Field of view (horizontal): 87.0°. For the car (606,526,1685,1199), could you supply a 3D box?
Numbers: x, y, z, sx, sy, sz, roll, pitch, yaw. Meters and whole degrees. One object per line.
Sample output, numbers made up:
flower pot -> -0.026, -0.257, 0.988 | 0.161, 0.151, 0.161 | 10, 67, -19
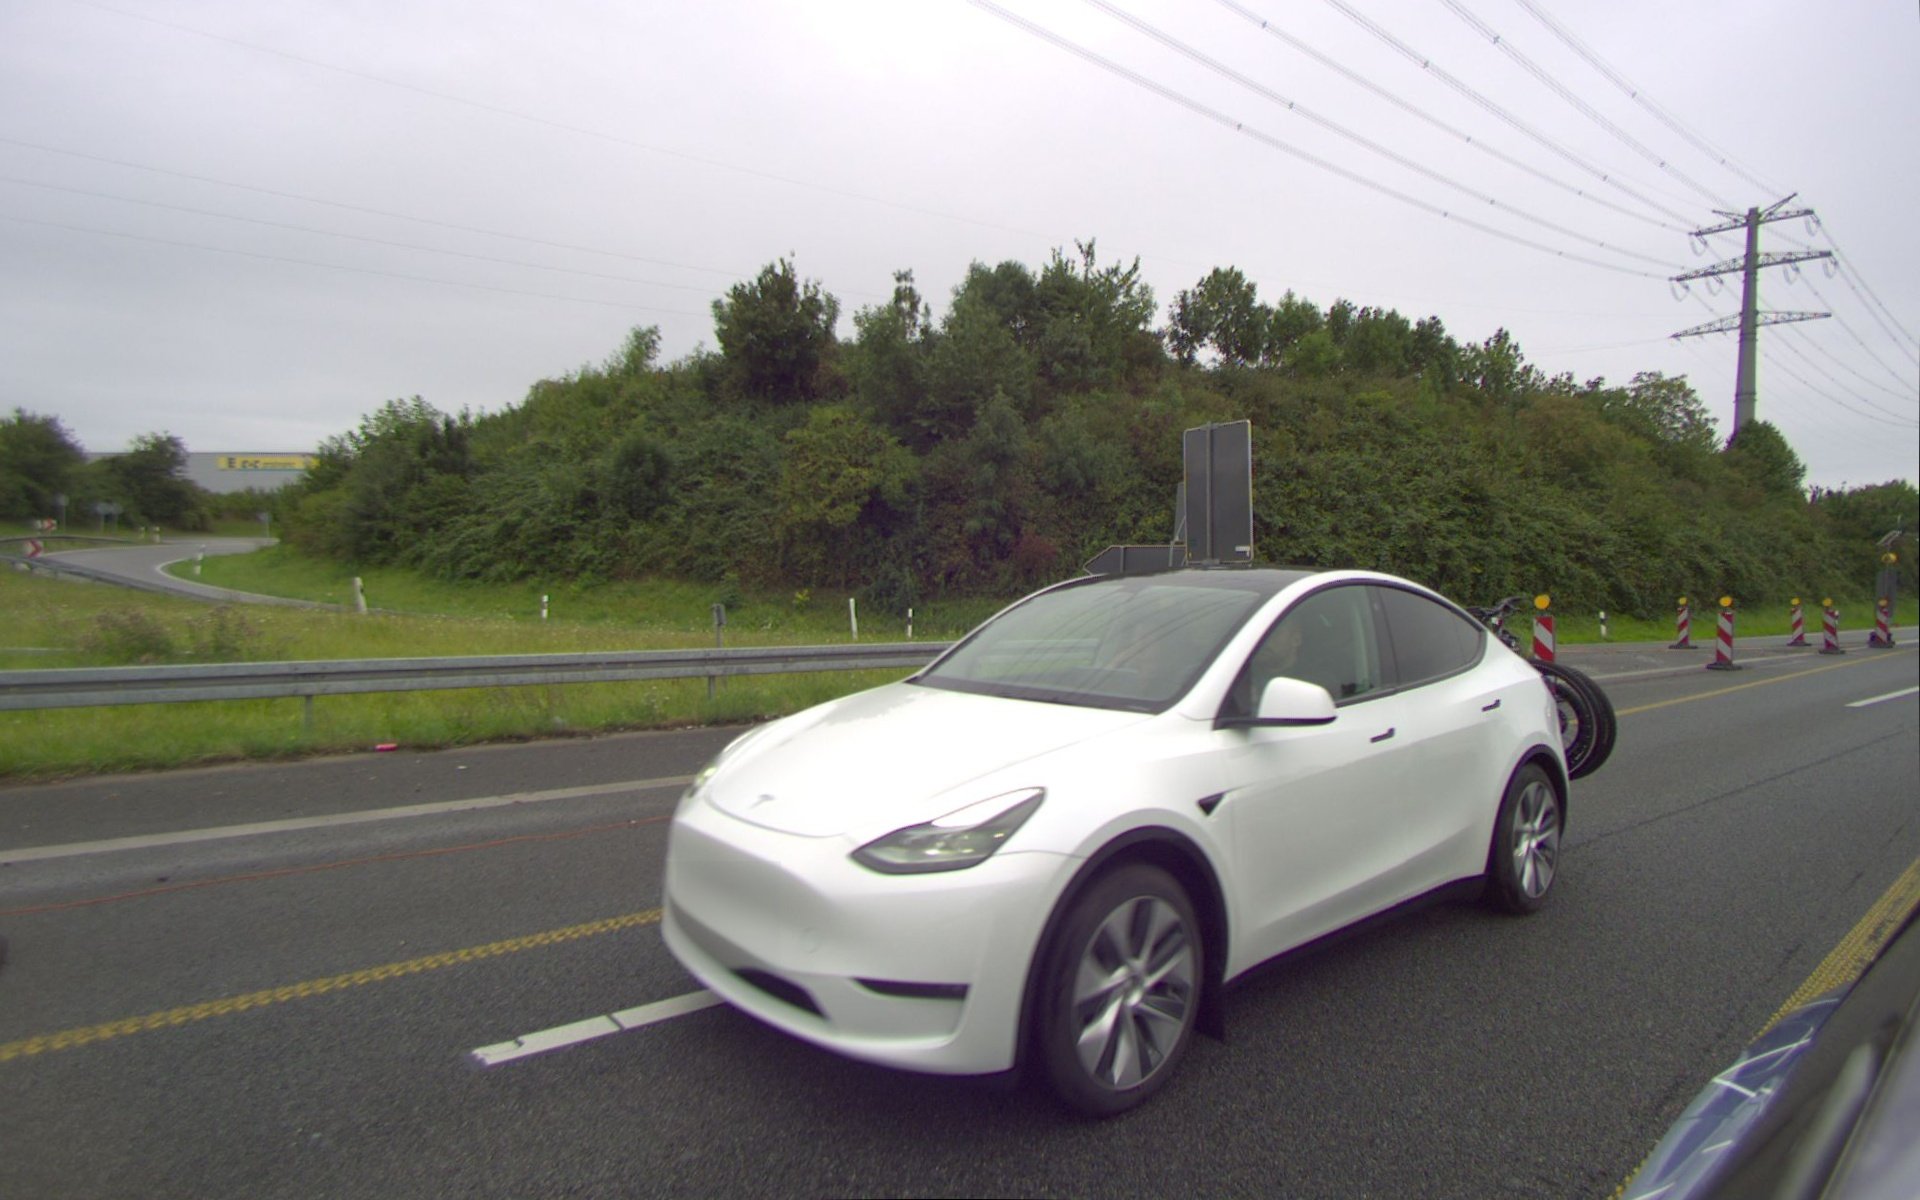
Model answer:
car -> 1.468, 0.618, 4.924 | 5.699, 1.616, 2.049 | 0, 0, -40
